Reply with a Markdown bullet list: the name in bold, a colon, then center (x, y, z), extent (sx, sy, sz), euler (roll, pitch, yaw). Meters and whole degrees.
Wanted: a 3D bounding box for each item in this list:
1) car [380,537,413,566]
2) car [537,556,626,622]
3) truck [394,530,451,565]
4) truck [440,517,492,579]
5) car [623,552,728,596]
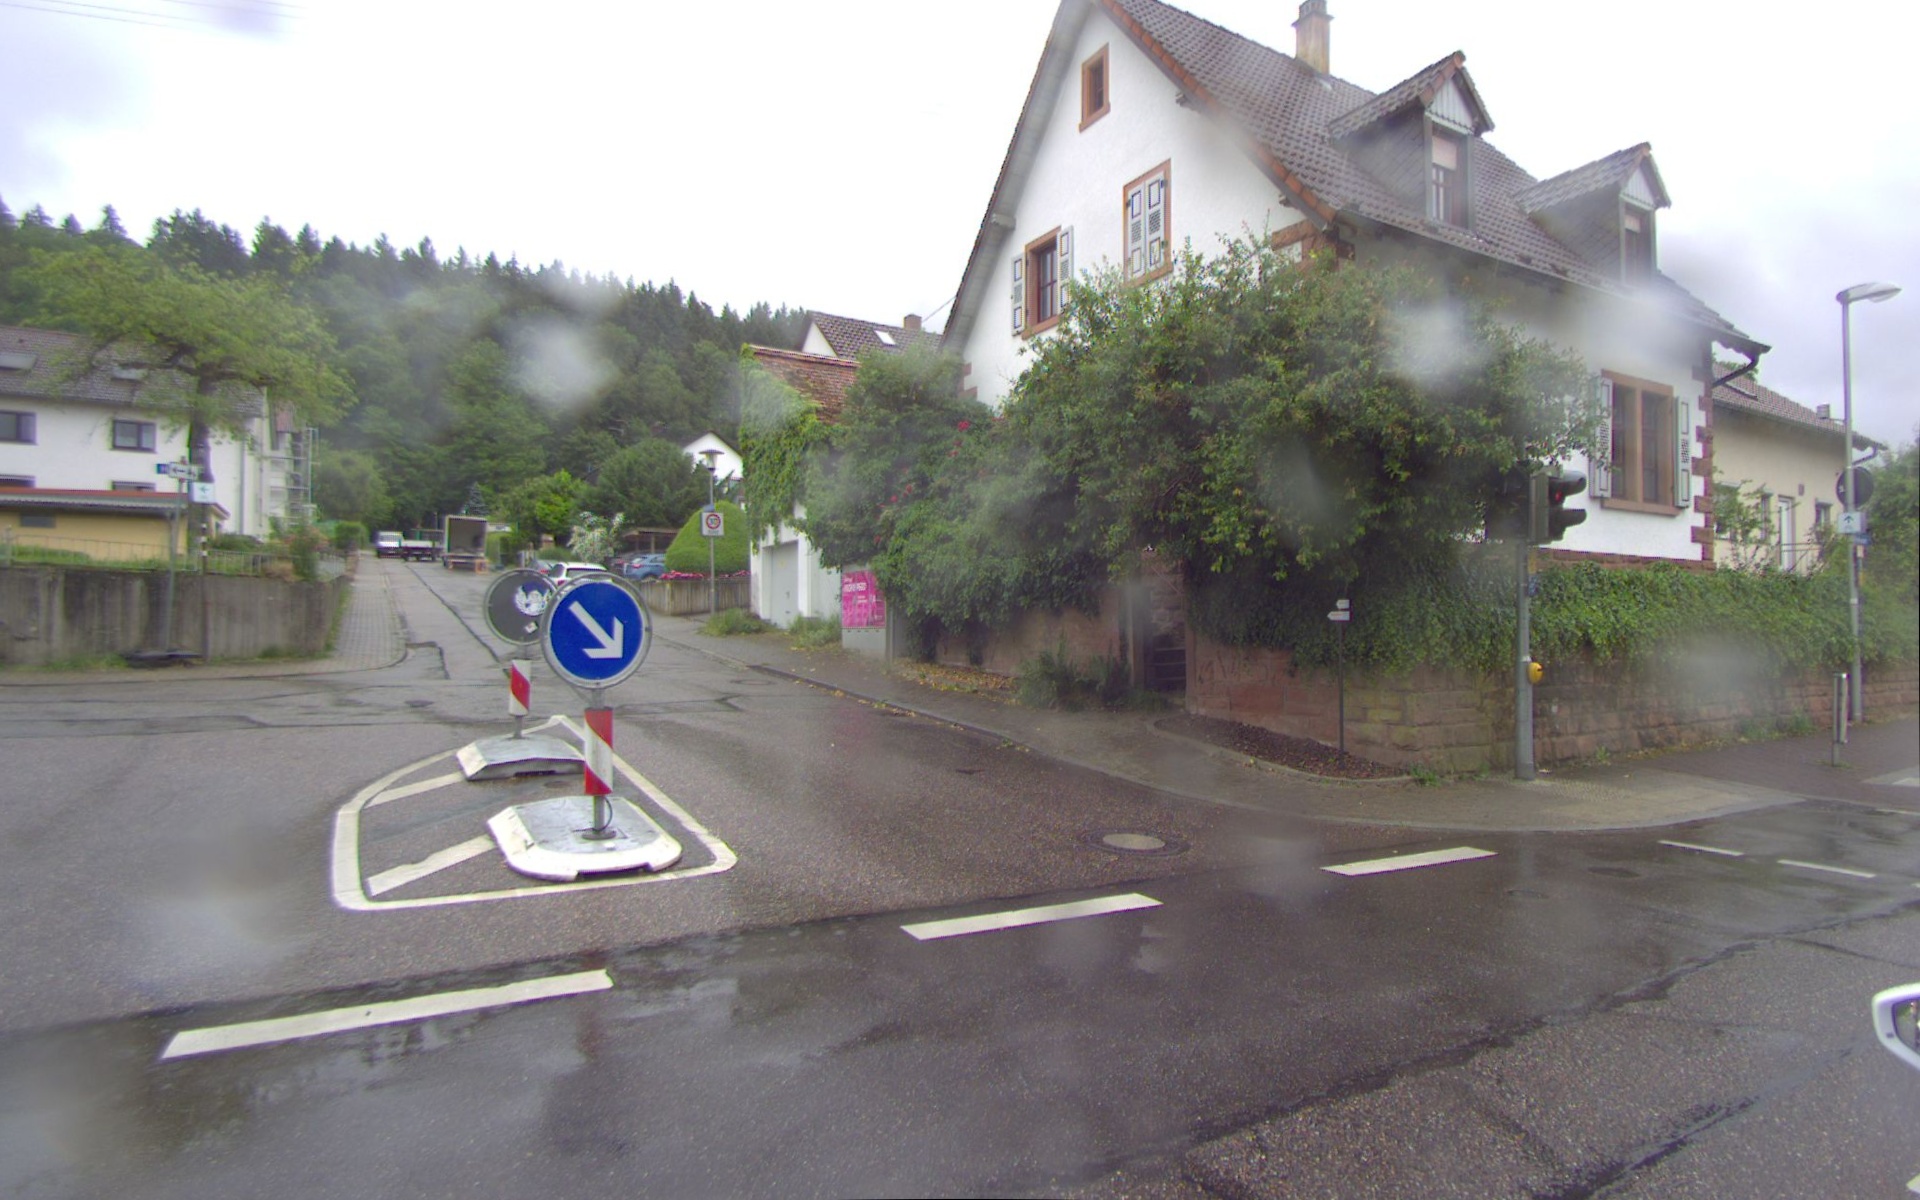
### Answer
- **car**: center (-42.885, -3.698, 76.460), extent (1.896, 2.040, 3.963), euler (2, 1, -33)
- **car**: center (-11.265, -0.357, 29.758), extent (1.878, 1.535, 3.860), euler (2, 5, -29)
- **truck**: center (-38.123, -3.681, 71.390), extent (2.262, 2.155, 6.059), euler (2, 1, -16)
- **truck**: center (-29.696, -3.043, 60.247), extent (2.424, 3.397, 6.606), euler (2, 1, -29)
- **car**: center (-11.881, -1.092, 41.969), extent (3.846, 1.535, 1.884), euler (2, 5, -31)
